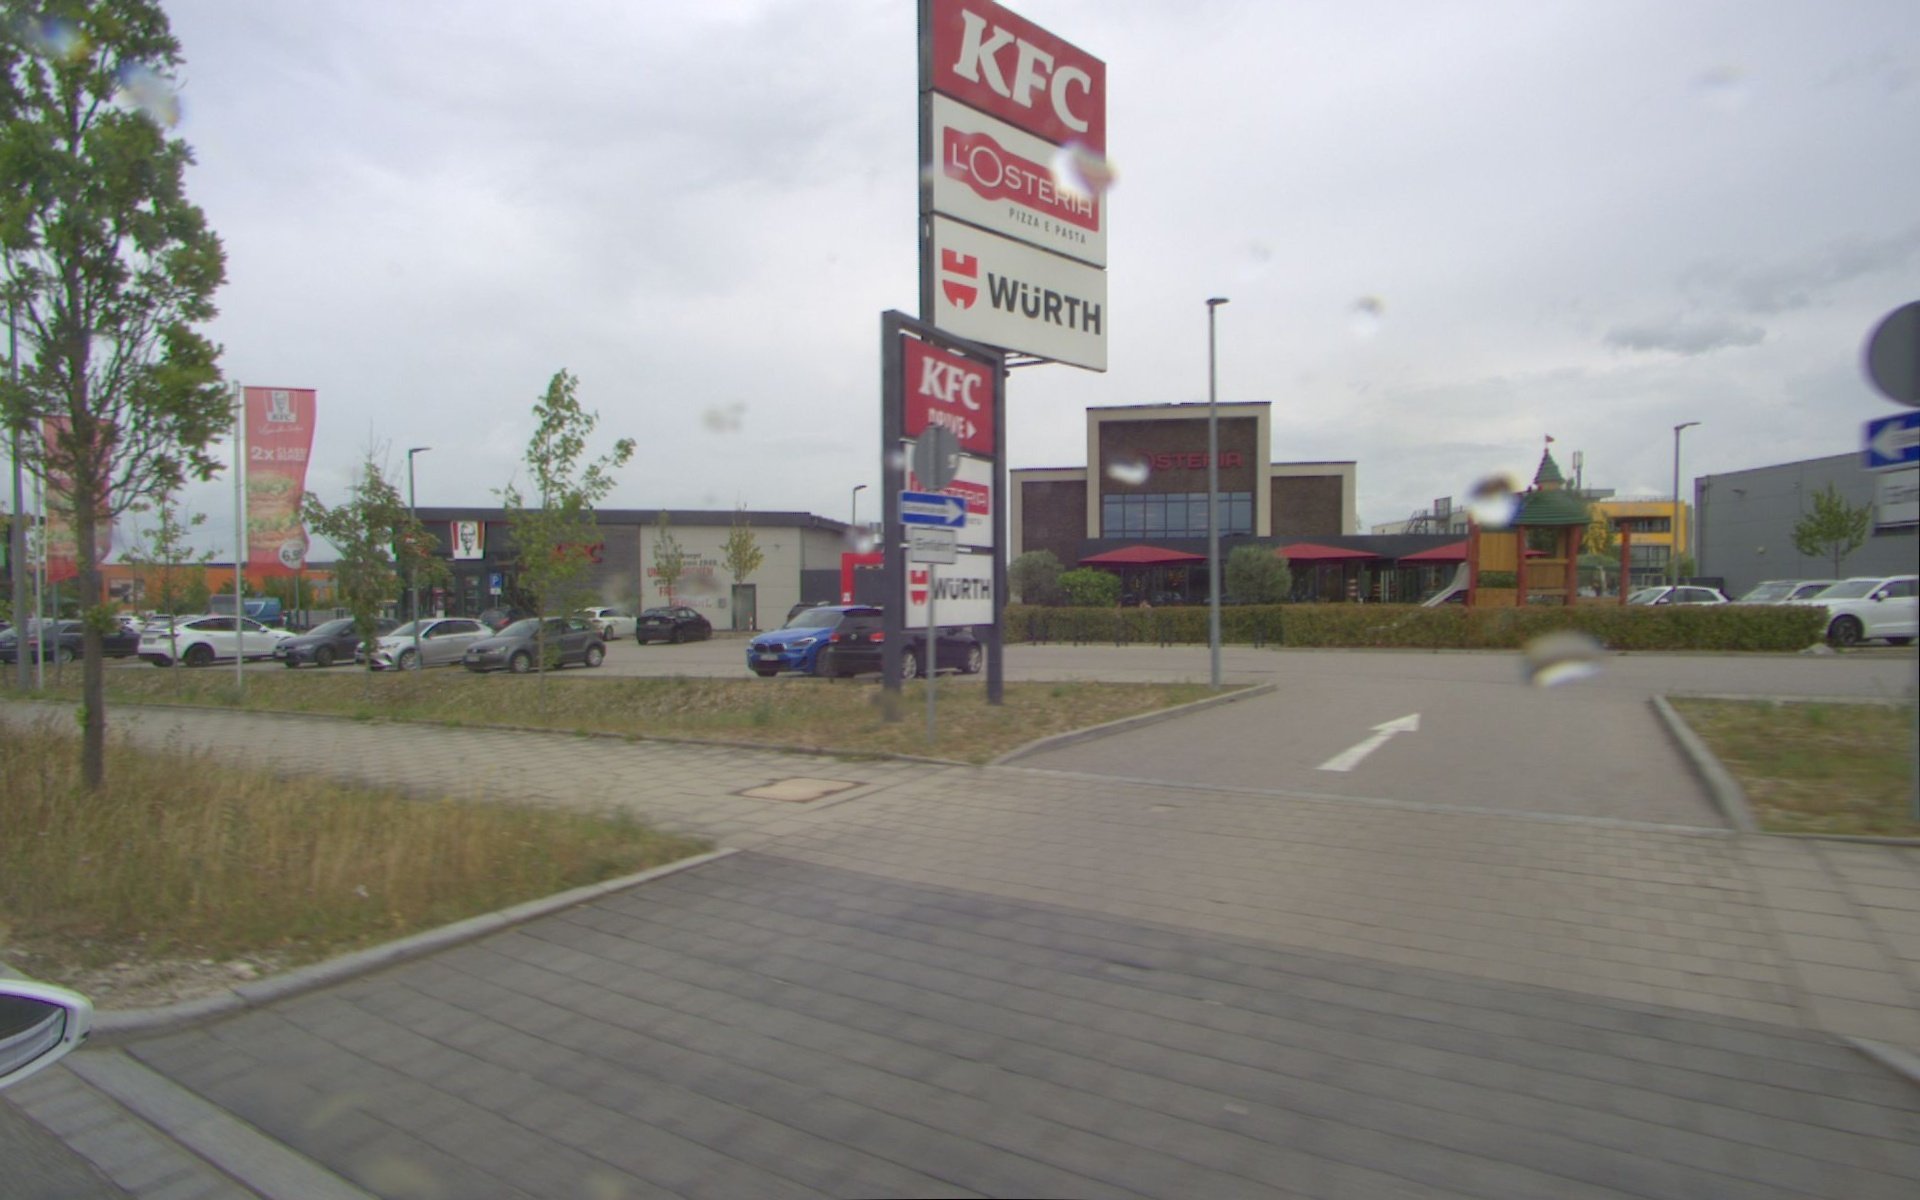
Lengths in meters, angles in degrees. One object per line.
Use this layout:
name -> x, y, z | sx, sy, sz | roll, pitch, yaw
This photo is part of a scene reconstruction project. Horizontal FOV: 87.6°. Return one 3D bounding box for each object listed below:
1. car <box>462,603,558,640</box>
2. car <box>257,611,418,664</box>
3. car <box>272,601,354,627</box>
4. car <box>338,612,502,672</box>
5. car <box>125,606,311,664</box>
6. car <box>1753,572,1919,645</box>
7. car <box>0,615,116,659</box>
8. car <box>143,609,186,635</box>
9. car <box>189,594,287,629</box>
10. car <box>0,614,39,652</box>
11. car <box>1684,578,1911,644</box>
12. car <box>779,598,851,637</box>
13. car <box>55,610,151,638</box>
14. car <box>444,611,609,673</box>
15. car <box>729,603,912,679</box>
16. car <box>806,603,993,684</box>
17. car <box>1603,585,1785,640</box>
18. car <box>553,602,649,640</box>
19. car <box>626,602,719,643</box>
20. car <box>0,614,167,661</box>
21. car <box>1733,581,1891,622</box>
car -> -21.167, 0.981, 47.292 | 2.008, 1.539, 4.374 | -1, 1, 9
car -> -19.834, 1.158, 32.094 | 1.908, 1.504, 3.987 | -1, 0, 24
car -> -46.785, 0.999, 72.521 | 4.602, 1.840, 1.864 | -1, 0, -9
car -> -15.759, 1.169, 29.429 | 1.872, 1.501, 3.859 | -1, 1, 26
car -> -24.635, 1.106, 33.465 | 2.052, 1.667, 4.564 | -1, 1, 20
car -> 22.644, 0.199, 24.602 | 4.699, 1.720, 2.000 | 0, 0, 2
car -> -33.907, 1.318, 36.766 | 1.907, 1.457, 4.092 | 0, 0, 14
car -> -48.608, 1.314, 61.237 | 1.933, 1.462, 4.185 | -1, 0, -38
car -> -56.198, 0.859, 78.098 | 5.963, 2.562, 2.268 | 0, 1, -32
car -> -38.525, 1.319, 38.310 | 2.035, 1.455, 4.478 | 0, 0, 12
car -> 22.732, 0.303, 27.310 | 4.450, 1.700, 2.133 | 0, 0, -2
car -> -6.374, 0.735, 44.447 | 1.861, 1.539, 4.573 | -1, 1, 9
car -> -56.055, 1.561, 65.613 | 4.681, 1.678, 1.983 | -1, 0, -41
car -> -11.633, 1.068, 27.093 | 1.860, 1.514, 3.755 | -1, 0, 27
car -> -3.035, 0.844, 22.738 | 1.936, 1.540, 4.256 | 0, 0, 30
car -> -1.160, 0.827, 20.888 | 1.953, 1.513, 3.978 | 0, 0, 32
car -> 23.018, 0.380, 31.553 | 4.243, 1.650, 1.985 | 0, 0, 2
car -> -16.173, 0.911, 45.411 | 2.042, 1.539, 4.572 | -1, 1, 11
car -> -11.991, 0.909, 42.118 | 1.940, 1.539, 4.573 | -1, 1, 9
car -> -31.243, 1.273, 35.547 | 1.995, 1.488, 4.526 | 0, 0, 16
car -> 34.134, 0.039, 40.243 | 4.487, 1.539, 2.080 | -1, 1, 2
